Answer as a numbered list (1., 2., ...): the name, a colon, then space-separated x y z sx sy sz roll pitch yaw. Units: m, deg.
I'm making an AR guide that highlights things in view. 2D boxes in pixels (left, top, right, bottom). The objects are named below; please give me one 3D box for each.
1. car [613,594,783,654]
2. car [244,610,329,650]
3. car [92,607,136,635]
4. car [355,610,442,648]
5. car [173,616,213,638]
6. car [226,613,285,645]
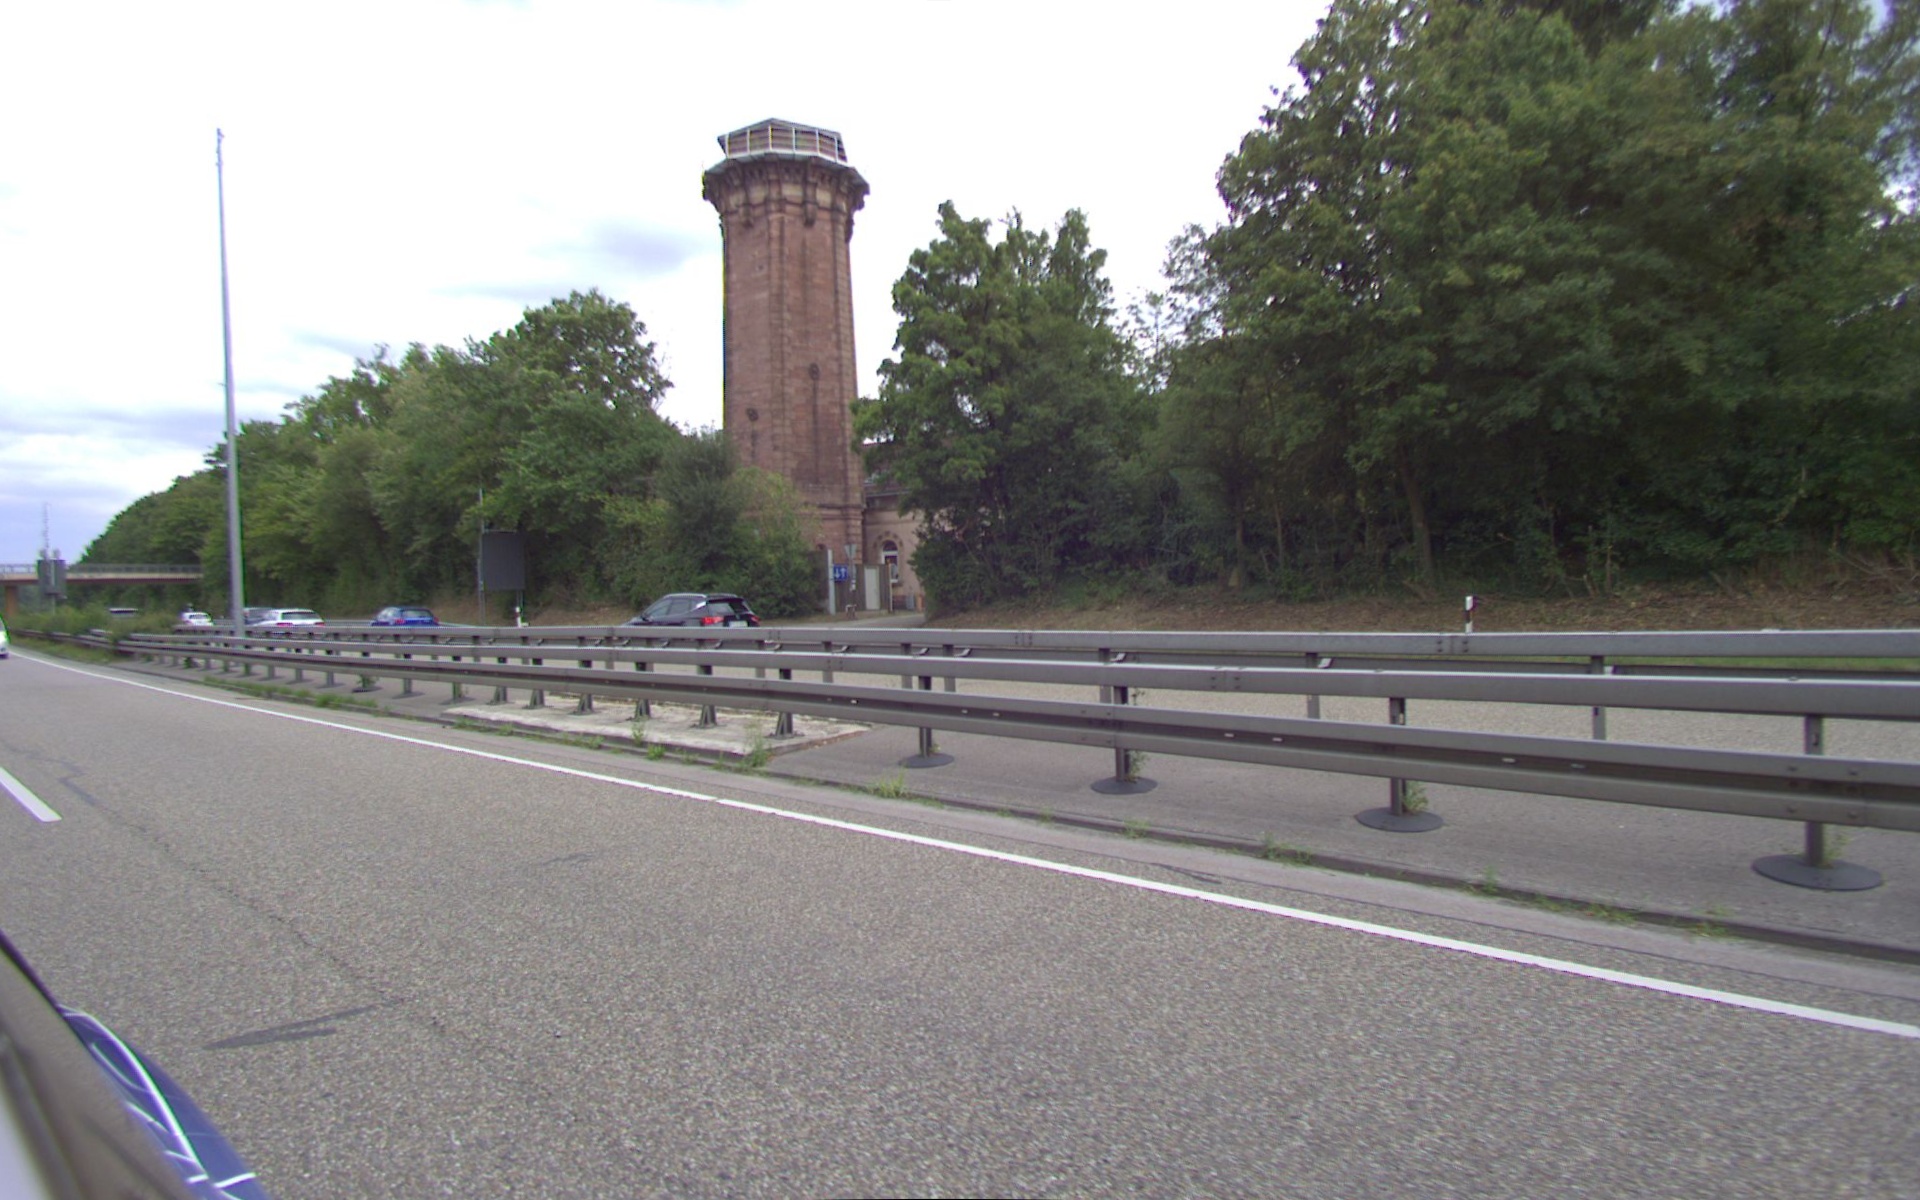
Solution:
1. car: -6.311 0.556 24.164 4.065 1.309 1.958 -1 -1 40
2. car: -25.543 1.116 38.338 4.055 1.438 1.694 -1 -1 41
3. car: -55.940 1.387 66.876 4.542 1.782 1.742 -1 -1 43
4. car: -22.370 1.128 40.293 4.055 1.461 1.793 -1 -1 41
5. car: -53.238 1.852 70.229 3.728 1.519 1.611 -1 -1 43
6. car: -37.965 1.529 54.487 4.130 1.613 1.712 -1 -1 42
